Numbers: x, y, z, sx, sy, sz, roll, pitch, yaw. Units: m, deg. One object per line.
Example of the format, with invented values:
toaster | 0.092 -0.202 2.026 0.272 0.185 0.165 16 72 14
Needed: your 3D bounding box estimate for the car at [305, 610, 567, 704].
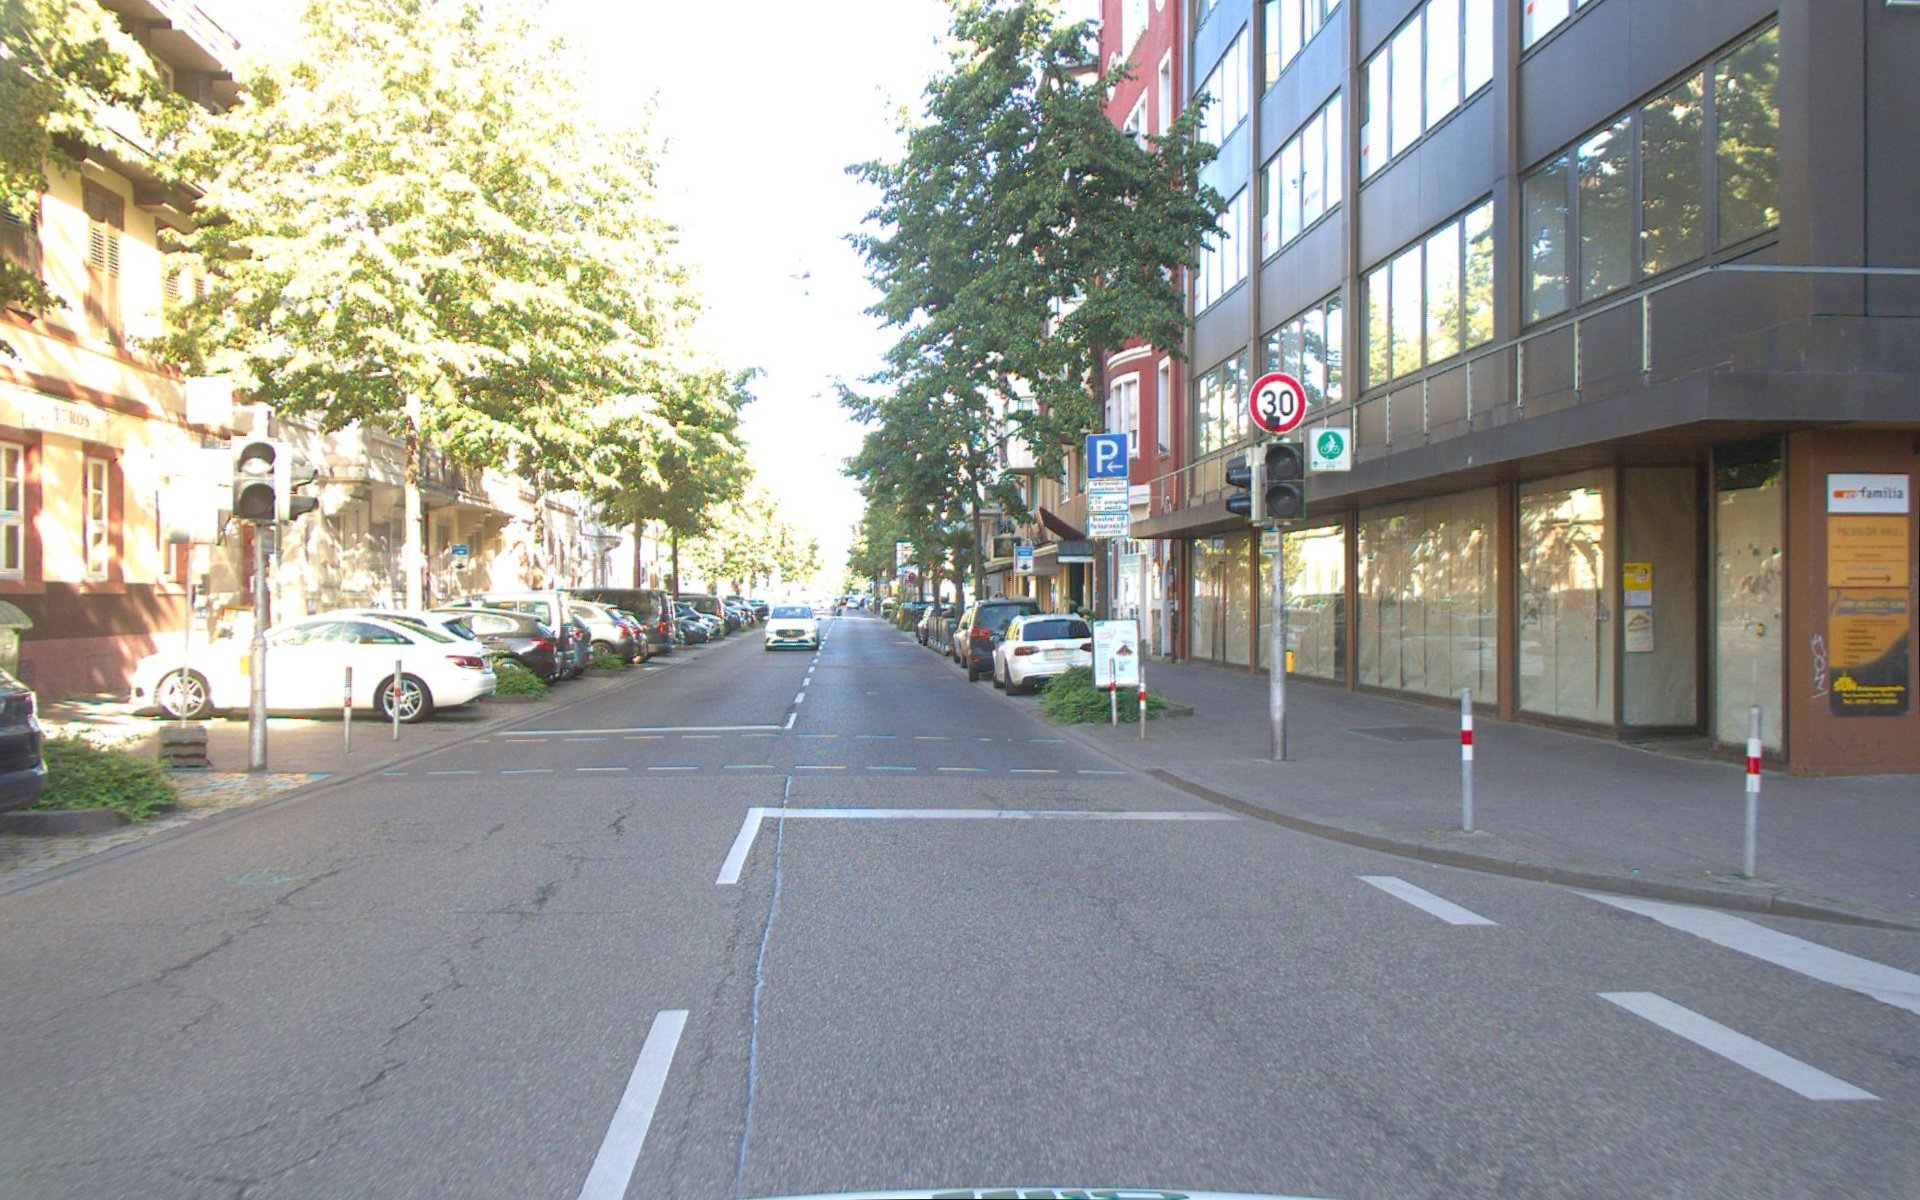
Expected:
car | -9.211 0.991 29.359 4.268 1.571 1.956 1 -1 -16

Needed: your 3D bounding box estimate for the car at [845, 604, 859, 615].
car | -14.382 1.313 220.589 1.757 1.436 3.996 0 0 -4

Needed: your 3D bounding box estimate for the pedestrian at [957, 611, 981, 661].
pedestrian | 0.283 1.123 52.223 0.679 1.563 0.776 0 -1 -3

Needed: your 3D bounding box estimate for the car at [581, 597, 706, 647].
car | -11.471 0.804 60.150 4.254 1.739 1.915 1 -1 -5

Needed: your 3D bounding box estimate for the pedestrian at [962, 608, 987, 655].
pedestrian | 0.481 1.037 54.633 0.696 1.563 0.770 0 -1 10

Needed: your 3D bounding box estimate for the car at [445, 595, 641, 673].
car | -9.862 0.803 39.373 4.256 1.764 1.914 1 -1 -6

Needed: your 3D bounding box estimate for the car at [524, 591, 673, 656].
car | -10.796 0.706 49.448 4.266 1.866 1.909 1 -1 -14

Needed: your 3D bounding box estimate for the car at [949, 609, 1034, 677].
car | 0.771 1.082 43.986 1.786 1.624 4.837 -2 0 -4

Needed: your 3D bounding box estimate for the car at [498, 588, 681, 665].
car | -9.869 0.708 44.312 4.481 1.960 1.929 1 -1 -2

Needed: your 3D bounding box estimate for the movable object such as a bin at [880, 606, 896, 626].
movable object such as a bin | -5.734 1.265 132.187 1.118 1.589 1.460 -1 0 4

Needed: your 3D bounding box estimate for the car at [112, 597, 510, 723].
car | -8.604 0.812 22.349 4.612 1.518 1.996 2 -2 -9

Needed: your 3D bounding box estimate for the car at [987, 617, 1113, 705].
car | 1.612 1.082 31.230 1.786 1.427 4.838 -2 0 -4

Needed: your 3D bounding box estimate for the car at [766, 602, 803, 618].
car | -19.301 1.062 182.114 3.905 1.724 2.000 0 0 0

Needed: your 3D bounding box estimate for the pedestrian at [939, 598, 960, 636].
pedestrian | -0.549 0.888 87.459 0.906 1.969 0.761 0 0 21

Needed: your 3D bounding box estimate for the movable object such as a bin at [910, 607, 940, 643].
movable object such as a bin | -1.573 1.105 74.182 1.304 1.569 1.145 0 0 -4

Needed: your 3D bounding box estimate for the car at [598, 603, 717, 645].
car | -11.758 0.931 64.600 4.379 1.568 1.914 1 -1 -5

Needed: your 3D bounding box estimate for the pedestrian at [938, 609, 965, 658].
pedestrian | -0.264 1.086 53.301 0.733 1.563 0.808 0 -1 10

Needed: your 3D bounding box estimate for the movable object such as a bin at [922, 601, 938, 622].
movable object such as a bin | -2.362 0.886 129.875 1.182 1.656 1.496 -1 0 -6

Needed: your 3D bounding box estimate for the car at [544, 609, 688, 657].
car | -10.847 1.030 52.343 4.256 1.464 1.914 1 -1 -6

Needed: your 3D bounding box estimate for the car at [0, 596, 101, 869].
car | -7.636 0.737 9.580 4.252 1.571 1.943 1 -1 -2

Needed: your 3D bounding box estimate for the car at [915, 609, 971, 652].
car | -0.691 1.140 63.339 1.786 1.497 4.907 -2 0 -4

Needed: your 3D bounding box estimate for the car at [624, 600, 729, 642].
car | -12.658 0.941 73.973 4.377 1.803 1.915 1 -1 -3

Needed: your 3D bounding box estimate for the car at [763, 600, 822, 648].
car | -5.709 0.822 56.892 1.873 1.571 4.349 1 0 -4

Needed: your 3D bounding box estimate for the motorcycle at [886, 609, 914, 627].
motorcycle | -4.412 1.319 121.930 1.945 1.353 0.907 0 0 -17

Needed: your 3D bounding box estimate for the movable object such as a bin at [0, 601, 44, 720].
movable object such as a bin | -12.422 0.741 20.702 1.110 1.470 1.381 1 -1 -1

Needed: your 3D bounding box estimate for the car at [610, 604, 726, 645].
car | -11.859 0.995 67.353 4.375 1.568 1.916 1 -1 -1

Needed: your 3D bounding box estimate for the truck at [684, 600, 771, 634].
truck | -13.824 0.996 98.668 4.985 1.972 1.998 0 0 -5

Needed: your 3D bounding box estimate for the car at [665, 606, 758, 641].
car | -12.863 1.199 85.717 4.587 1.742 1.807 1 -1 -3

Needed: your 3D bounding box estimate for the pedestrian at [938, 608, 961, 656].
pedestrian | -0.350 1.061 54.597 0.637 1.563 0.979 0 -1 -6

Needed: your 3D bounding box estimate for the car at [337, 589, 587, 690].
car | -9.573 0.753 32.063 4.252 1.856 1.929 1 -1 -3

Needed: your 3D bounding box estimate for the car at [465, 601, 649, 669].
car | -10.086 0.870 41.712 4.256 1.623 1.914 1 -1 -6

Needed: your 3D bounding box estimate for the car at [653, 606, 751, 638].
car | -12.510 1.051 80.330 4.554 1.485 1.682 1 -1 -5

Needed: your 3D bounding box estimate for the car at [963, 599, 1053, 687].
car | 1.022 0.913 37.630 1.785 1.808 4.930 -2 0 -1

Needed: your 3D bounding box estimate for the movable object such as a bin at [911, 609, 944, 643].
movable object such as a bin | -1.445 1.137 73.025 1.371 1.479 1.145 0 0 -4

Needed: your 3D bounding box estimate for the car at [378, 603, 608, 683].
car | -9.728 0.882 34.690 4.250 1.571 1.916 1 -1 0

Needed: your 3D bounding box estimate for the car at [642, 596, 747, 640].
car | -12.302 0.823 76.746 4.587 1.984 1.915 1 -1 -3

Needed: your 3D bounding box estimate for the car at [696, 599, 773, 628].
car | -14.173 0.838 104.150 4.587 1.723 1.807 1 -1 -3

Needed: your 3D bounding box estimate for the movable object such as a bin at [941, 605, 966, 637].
movable object such as a bin | -0.295 0.937 74.285 1.056 1.456 1.294 0 0 -4

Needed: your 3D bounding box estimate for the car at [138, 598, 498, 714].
car | -9.418 0.812 24.645 4.612 1.518 1.996 2 0 -9

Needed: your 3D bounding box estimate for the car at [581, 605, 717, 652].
car | -10.806 0.990 57.706 4.376 1.568 1.916 1 -1 -2

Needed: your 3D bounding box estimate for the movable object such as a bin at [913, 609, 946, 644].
movable object such as a bin | -1.316 1.135 71.854 1.371 1.479 1.145 0 0 -4
